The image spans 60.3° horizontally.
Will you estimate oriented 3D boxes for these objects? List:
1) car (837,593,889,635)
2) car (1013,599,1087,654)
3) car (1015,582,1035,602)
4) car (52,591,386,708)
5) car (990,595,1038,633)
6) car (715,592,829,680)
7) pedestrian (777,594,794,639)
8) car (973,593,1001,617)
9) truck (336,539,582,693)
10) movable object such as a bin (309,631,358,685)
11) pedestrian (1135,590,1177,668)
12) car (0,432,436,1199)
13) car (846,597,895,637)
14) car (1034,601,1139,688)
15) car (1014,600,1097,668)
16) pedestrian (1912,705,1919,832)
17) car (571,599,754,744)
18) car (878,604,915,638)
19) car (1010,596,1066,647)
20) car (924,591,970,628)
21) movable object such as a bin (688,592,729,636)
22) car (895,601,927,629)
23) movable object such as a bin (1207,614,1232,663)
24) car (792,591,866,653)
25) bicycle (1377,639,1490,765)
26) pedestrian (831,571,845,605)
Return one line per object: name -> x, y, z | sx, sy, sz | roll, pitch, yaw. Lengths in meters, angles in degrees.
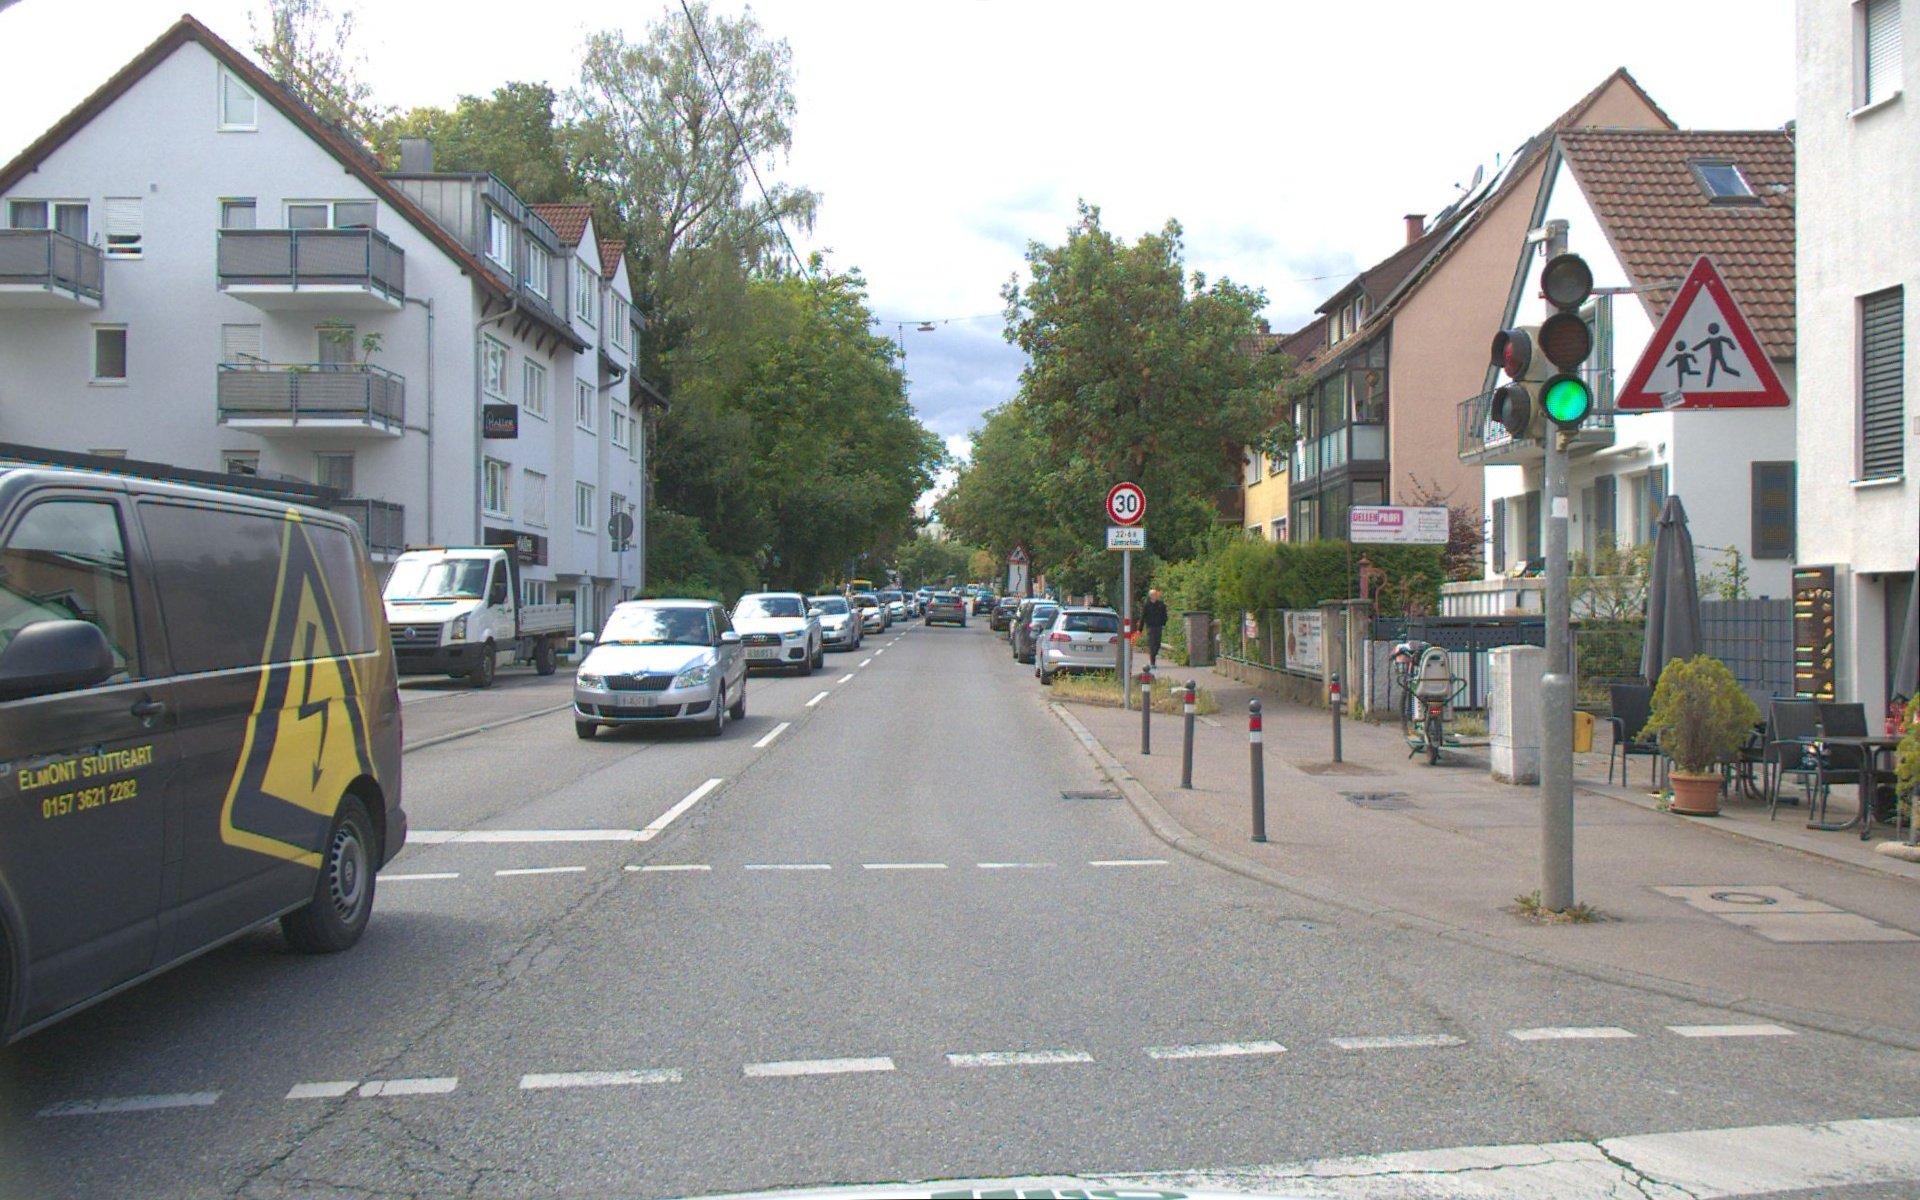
car -> -3.656, 0.507, 62.898 | 1.724, 1.464, 3.970 | -2, 1, 0
car -> 2.501, 0.714, 46.789 | 1.952, 1.448, 4.589 | 0, 0, 1
car -> 6.723, -0.839, 170.980 | 1.952, 2.049, 4.001 | 0, -1, 2
car -> -9.767, 0.635, 22.031 | 3.619, 1.450, 1.804 | 1, 0, -4
car -> 2.295, 0.565, 70.986 | 1.765, 1.470, 4.886 | 2, 0, -1
car -> -3.680, 0.670, 33.084 | 1.769, 1.598, 4.159 | -2, 0, 0
pedestrian -> -6.652, 0.621, 63.058 | 0.640, 1.696, 0.931 | 0, -1, -5
car -> 1.846, 0.299, 110.792 | 1.778, 1.527, 4.268 | 1, 0, 2
truck -> -8.658, 0.279, 29.352 | 2.178, 2.421, 6.327 | 0, -1, 3
movable object such as a bin -> -13.231, 1.213, 34.933 | 0.722, 1.120, 0.706 | 0, -1, 4
pedestrian -> 4.443, 0.660, 37.555 | 0.862, 1.742, 0.842 | 0, -1, 1
car -> -3.386, 0.537, 5.587 | 1.839, 1.946, 4.750 | 1, 0, -2
car -> -3.960, 0.726, 73.358 | 1.888, 1.573, 4.086 | -3, 1, 0
car -> 2.400, 0.806, 32.438 | 1.666, 1.506, 4.872 | 2, 0, 0
car -> 2.309, 0.797, 40.881 | 1.699, 1.453, 4.882 | 3, 0, 0
pedestrian -> 7.493, 1.272, 12.381 | 0.412, 0.954, 0.494 | 1, -1, -21
car -> -3.366, 0.750, 19.298 | 1.585, 1.512, 3.811 | 0, 0, -2
car -> -3.388, 1.106, 88.792 | 1.749, 1.676, 4.491 | -2, 0, 0
car -> 2.437, 0.655, 52.189 | 1.588, 1.534, 3.779 | 0, 0, 0
car -> -0.552, 0.399, 75.257 | 1.935, 1.539, 4.267 | 3, 0, 1
movable object such as a bin -> -8.471, 0.482, 55.718 | 1.304, 1.452, 1.212 | 0, -1, -6
car -> -2.955, 0.901, 100.916 | 1.748, 1.619, 4.154 | -2, 0, 0
movable object such as a bin -> 5.918, 0.869, 37.696 | 0.512, 1.099, 0.604 | 0, -1, 5
car -> -3.522, 0.562, 45.126 | 1.693, 1.529, 4.375 | -2, 0, -1
bicycle -> 4.811, 1.003, 16.942 | 0.705, 1.170, 2.214 | 0, -1, 5
pedestrian -> -6.501, -0.622, 87.883 | 0.700, 1.793, 1.121 | 0, -1, -5
